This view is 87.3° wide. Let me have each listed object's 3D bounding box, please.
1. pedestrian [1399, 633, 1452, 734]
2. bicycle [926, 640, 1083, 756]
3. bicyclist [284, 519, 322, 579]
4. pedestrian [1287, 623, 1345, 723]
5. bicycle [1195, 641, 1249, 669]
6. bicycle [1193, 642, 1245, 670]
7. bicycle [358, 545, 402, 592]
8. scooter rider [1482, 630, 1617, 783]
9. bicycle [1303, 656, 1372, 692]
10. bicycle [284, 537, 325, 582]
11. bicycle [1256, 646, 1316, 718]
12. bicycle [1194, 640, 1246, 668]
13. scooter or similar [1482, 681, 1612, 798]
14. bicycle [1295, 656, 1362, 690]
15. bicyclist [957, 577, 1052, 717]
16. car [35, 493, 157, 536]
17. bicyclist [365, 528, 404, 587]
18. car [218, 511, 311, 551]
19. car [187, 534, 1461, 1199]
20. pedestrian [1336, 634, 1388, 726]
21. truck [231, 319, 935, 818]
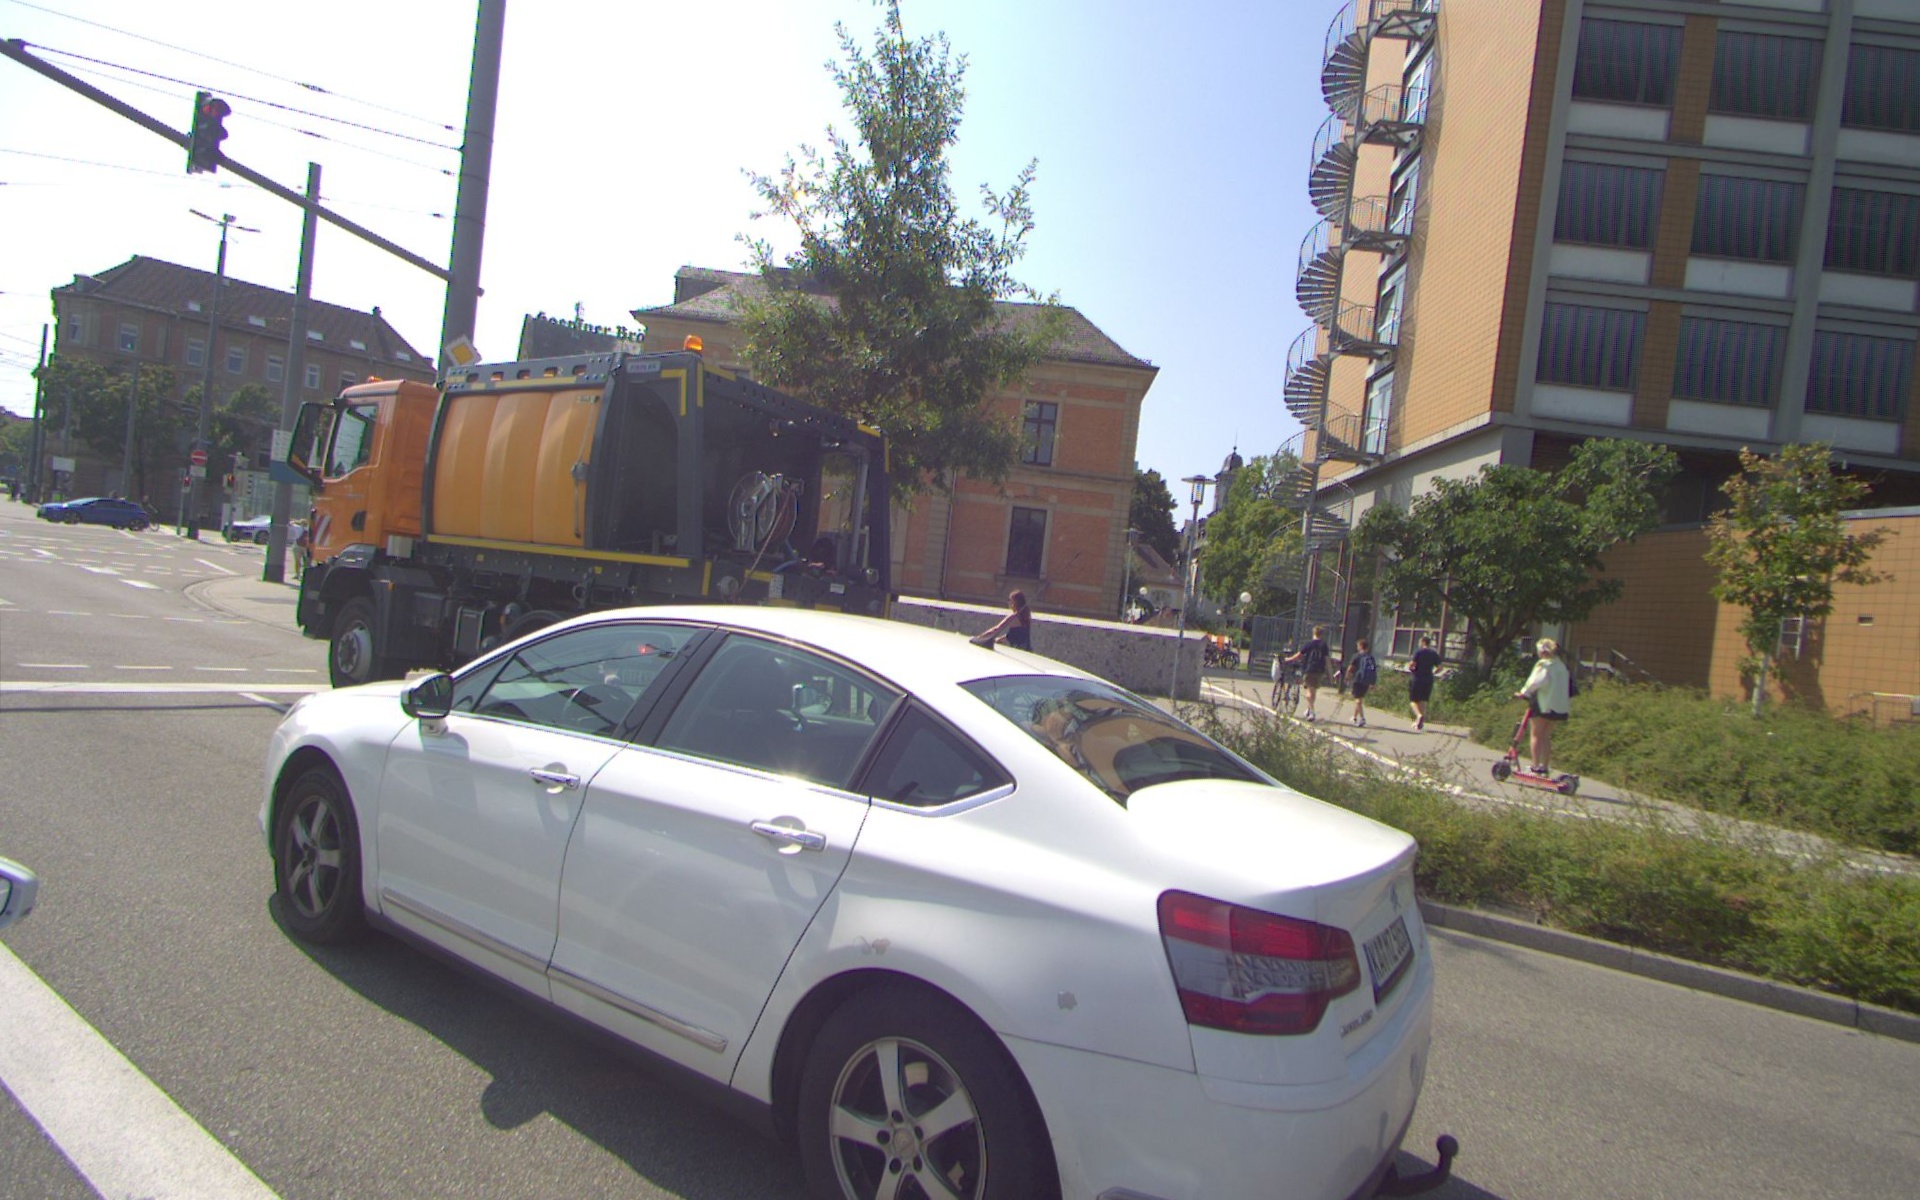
[{"bbox_3d":[9.226,1.639,19.976,0.617,1.895,0.837,6,1,14],"label":"pedestrian"},{"bbox_3d":[0.494,1.124,11.861,1.795,1.068,0.491,7,1,38],"label":"bicycle"},{"bbox_3d":[-18.020,-1.399,27.597,0.626,1.537,0.703,6,1,-45],"label":"bicyclist"},{"bbox_3d":[7.044,1.428,19.941,0.665,1.862,0.837,6,1,2],"label":"pedestrian"},{"bbox_3d":[9.962,2.086,38.286,1.866,0.850,0.549,7,1,7],"label":"bicycle"},{"bbox_3d":[10.133,2.191,39.404,1.866,0.850,0.549,7,1,7],"label":"bicycle"},{"bbox_3d":[-15.038,-0.825,26.062,0.534,1.068,1.632,6,1,-44],"label":"bicycle"},{"bbox_3d":[7.548,1.347,12.917,0.850,1.779,1.034,8,-1,-25],"label":"scooter rider"},{"bbox_3d":[11.904,2.331,31.775,1.866,0.850,0.549,7,1,7],"label":"bicycle"},{"bbox_3d":[-17.839,-1.118,27.364,0.534,1.068,1.632,6,1,-44],"label":"bicycle"},{"bbox_3d":[6.453,1.599,19.985,0.474,1.227,1.848,6,0,1],"label":"bicycle"},{"bbox_3d":[10.339,2.151,40.001,1.866,0.850,0.549,7,1,7],"label":"bicycle"},{"bbox_3d":[7.521,1.770,12.938,0.643,1.294,1.171,8,-1,-24],"label":"scooter or similar"},{"bbox_3d":[11.887,2.355,32.473,1.866,0.850,0.549,7,1,7],"label":"bicycle"},{"bbox_3d":[0.532,0.557,11.867,0.653,1.537,0.733,7,1,37],"label":"bicyclist"},{"bbox_3d":[-40.587,-3.999,47.382,1.567,1.411,3.996,7,0,25],"label":"car"},{"bbox_3d":[-14.748,-1.097,25.779,0.529,1.410,0.882,6,1,-45],"label":"bicyclist"},{"bbox_3d":[-38.213,-3.758,55.421,1.721,1.638,4.337,7,0,6],"label":"car"},{"bbox_3d":[-0.858,0.723,3.706,4.536,1.446,1.769,7,0,34],"label":"car"},{"bbox_3d":[7.904,1.552,19.794,0.665,1.695,0.837,6,1,14],"label":"pedestrian"},{"bbox_3d":[-3.830,-0.425,9.338,6.753,3.174,2.493,7,0,35],"label":"truck"}]
